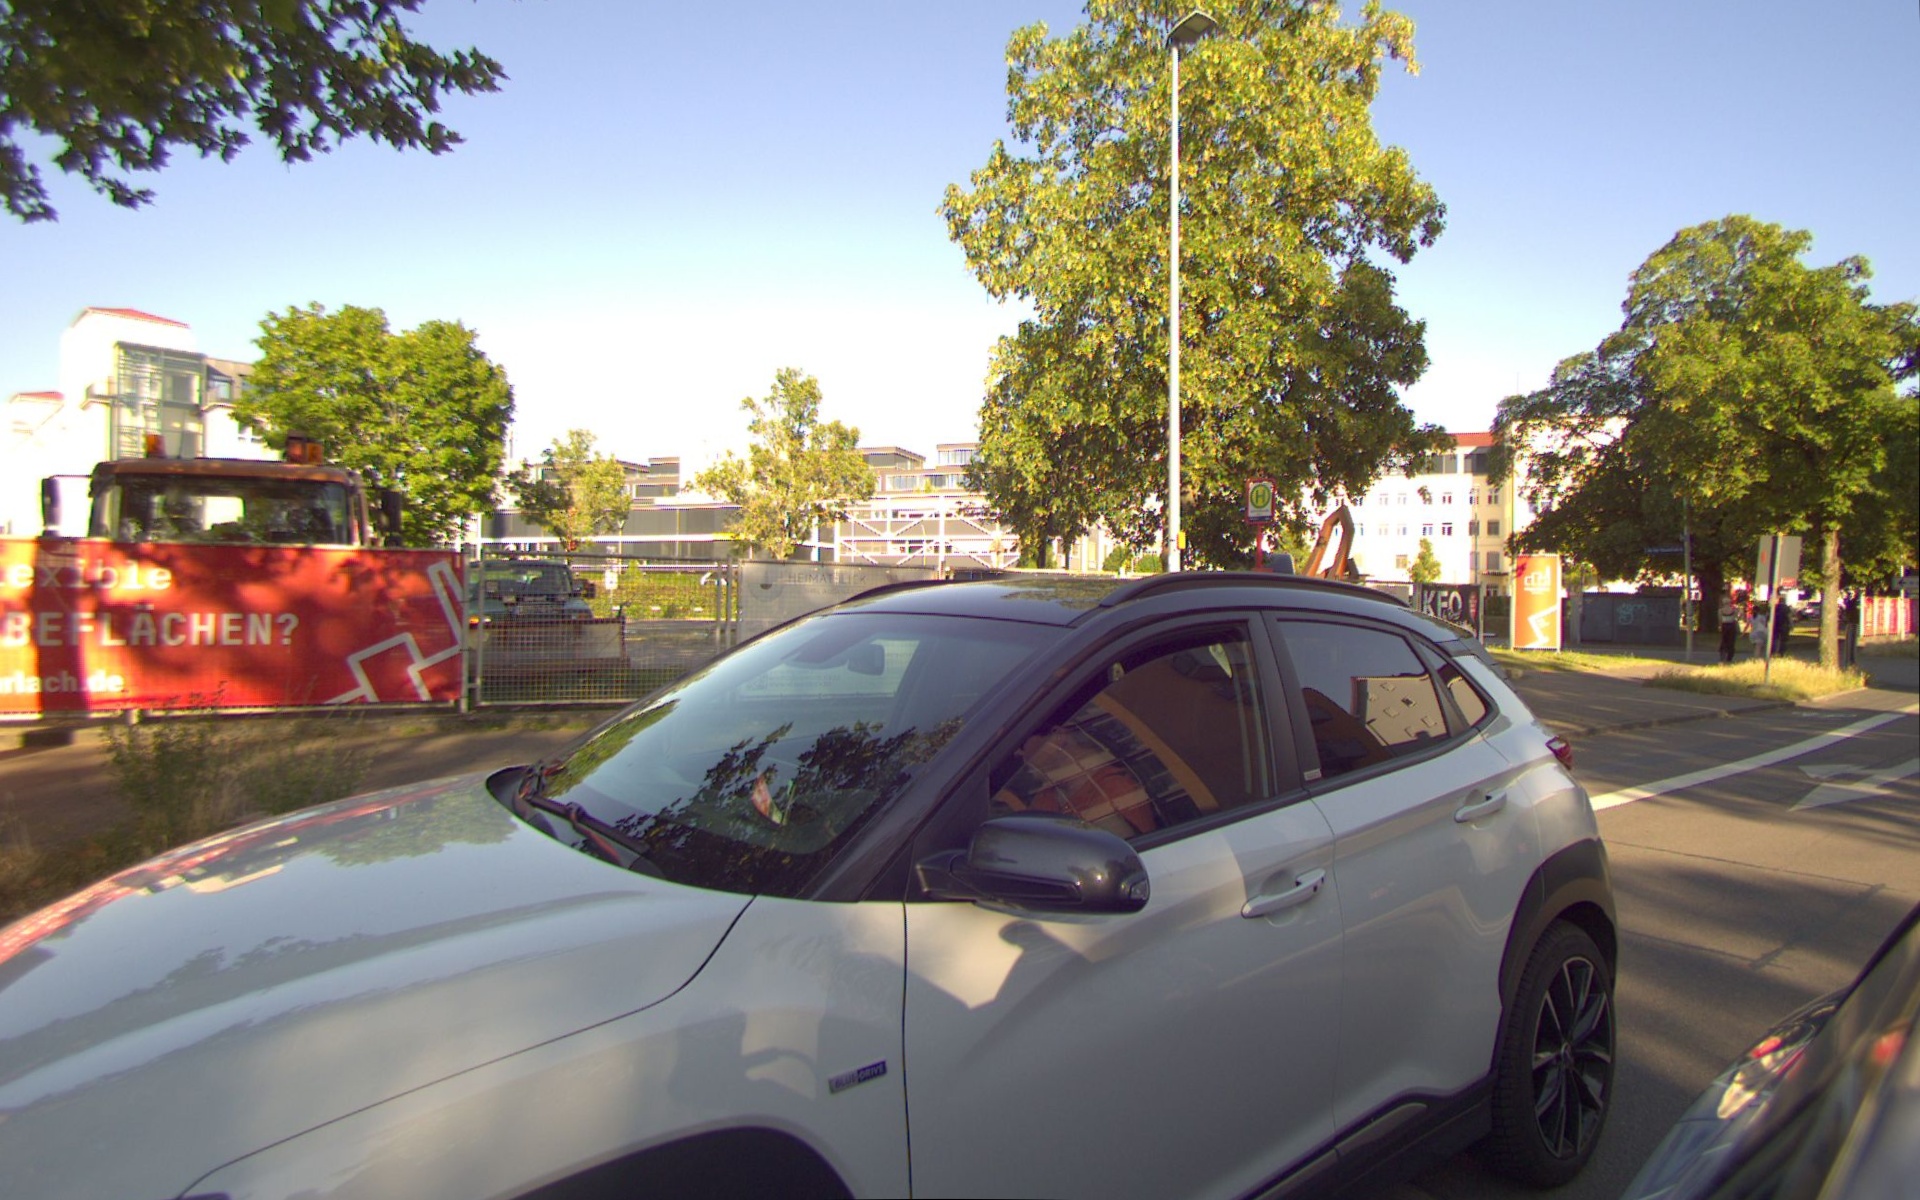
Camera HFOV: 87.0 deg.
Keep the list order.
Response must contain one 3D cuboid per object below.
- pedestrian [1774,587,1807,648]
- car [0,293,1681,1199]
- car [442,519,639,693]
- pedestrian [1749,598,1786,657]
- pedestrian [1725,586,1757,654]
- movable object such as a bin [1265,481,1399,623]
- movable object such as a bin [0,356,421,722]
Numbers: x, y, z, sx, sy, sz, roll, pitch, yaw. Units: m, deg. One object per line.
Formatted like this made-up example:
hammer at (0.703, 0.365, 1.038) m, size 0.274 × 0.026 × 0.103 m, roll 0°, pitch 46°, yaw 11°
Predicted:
pedestrian at (23.592, 0.489, 28.764) m, size 0.692 × 1.689 × 0.630 m, roll 0°, pitch 0°, yaw 38°
car at (-0.001, 0.650, 2.454) m, size 3.893 × 1.618 × 1.894 m, roll 3°, pitch -2°, yaw -39°
car at (-5.667, 0.042, 13.301) m, size 2.001 × 1.851 × 4.612 m, roll 0°, pitch 0°, yaw -28°
pedestrian at (20.397, 0.674, 25.571) m, size 0.627 × 1.452 × 0.609 m, roll 0°, pitch 0°, yaw -40°
pedestrian at (20.545, 0.524, 26.629) m, size 0.607 × 1.759 × 0.629 m, roll 0°, pitch 0°, yaw 44°
movable object such as a bin at (15.522, -1.885, 42.770) m, size 3.910 × 5.547 × 6.022 m, roll 0°, pitch 0°, yaw 6°
movable object such as a bin at (-8.391, -0.550, 12.062) m, size 3.154 × 3.087 × 6.295 m, roll 0°, pitch 0°, yaw -31°
